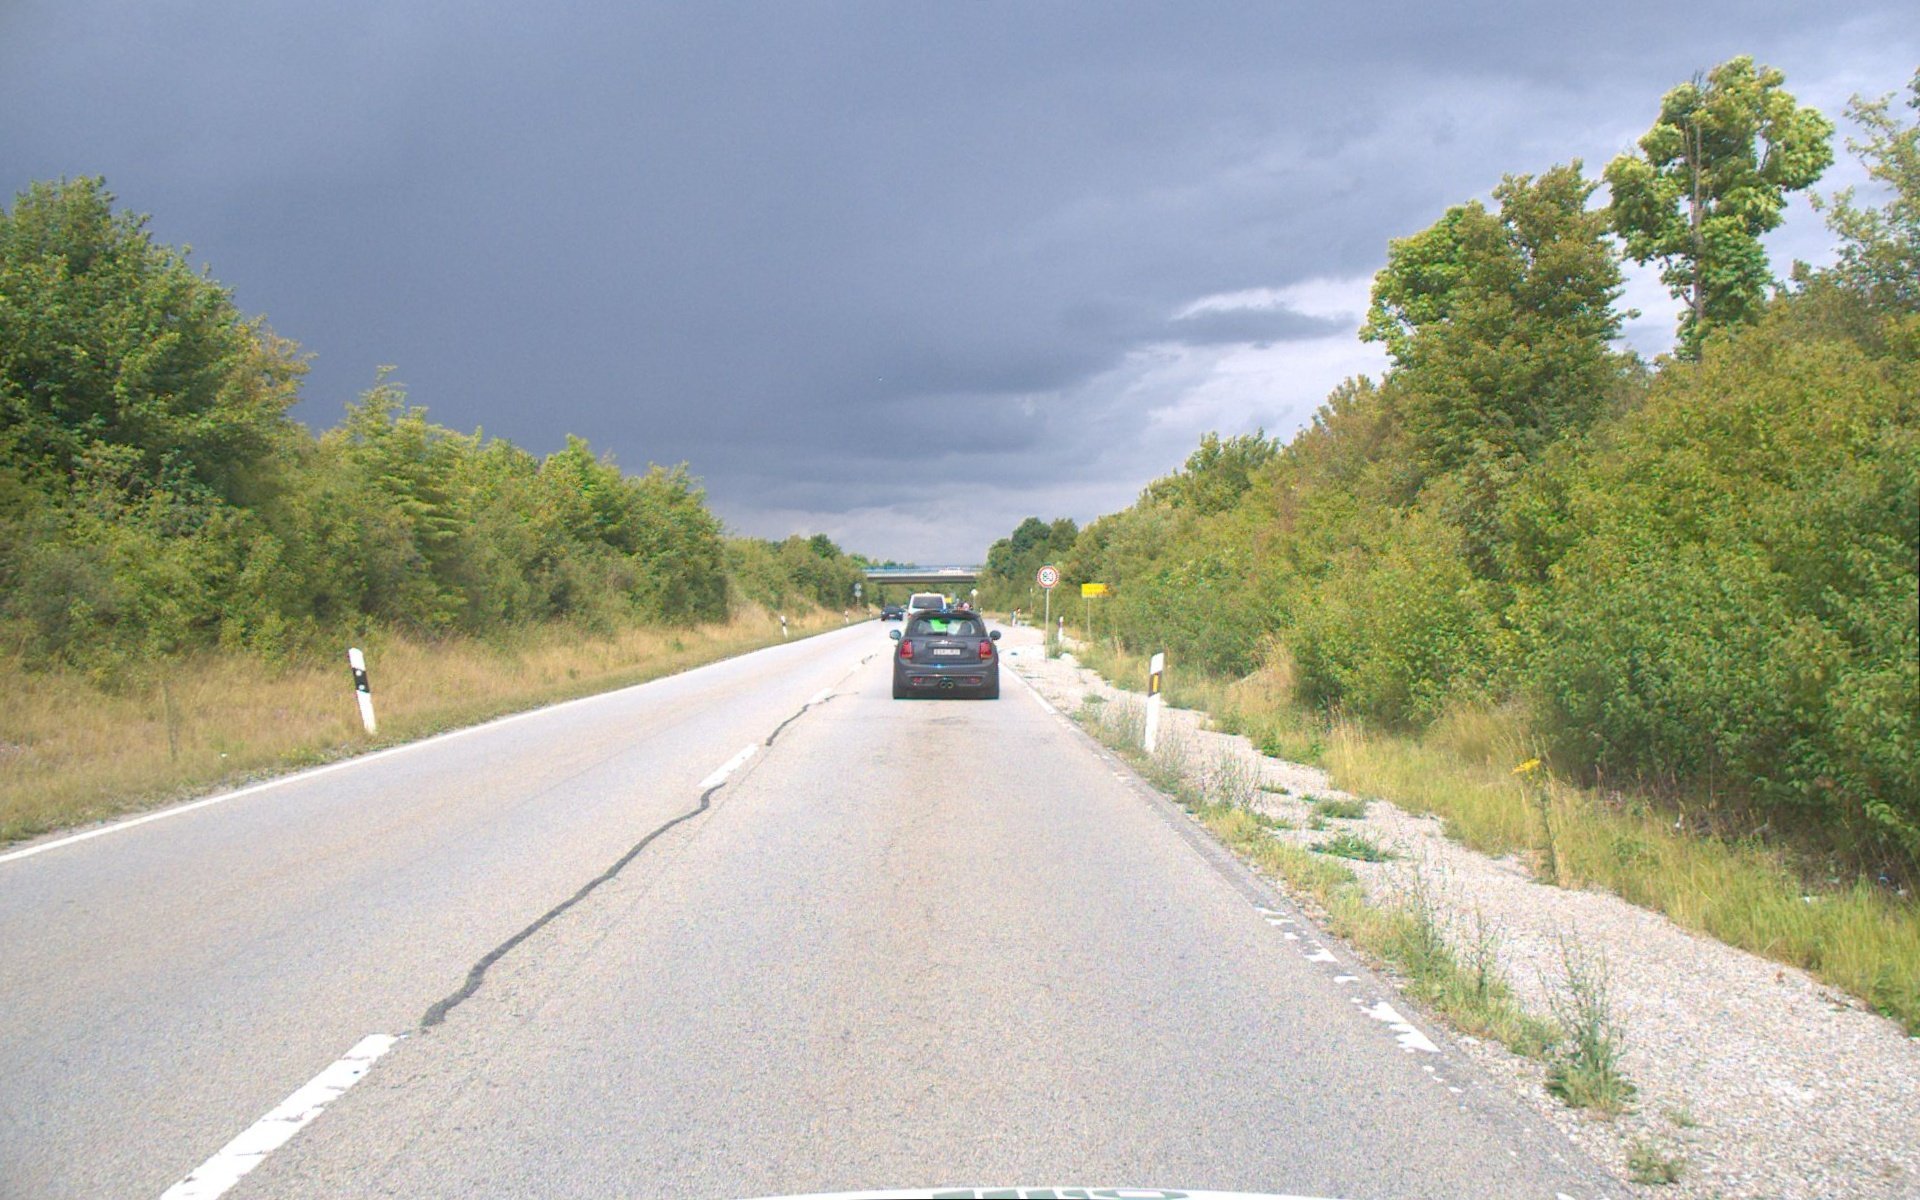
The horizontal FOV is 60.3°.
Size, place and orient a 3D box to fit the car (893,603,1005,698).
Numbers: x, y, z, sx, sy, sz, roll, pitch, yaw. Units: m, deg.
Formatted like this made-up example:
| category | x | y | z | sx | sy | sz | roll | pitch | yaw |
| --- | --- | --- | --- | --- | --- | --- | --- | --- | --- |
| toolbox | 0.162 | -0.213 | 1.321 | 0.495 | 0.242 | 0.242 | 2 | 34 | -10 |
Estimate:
| category | x | y | z | sx | sy | sz | roll | pitch | yaw |
| --- | --- | --- | --- | --- | --- | --- | --- | --- | --- |
| car | -0.208 | 0.800 | 27.745 | 1.721 | 1.452 | 3.999 | 1 | 0 | -1 |

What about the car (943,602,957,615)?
| category | x | y | z | sx | sy | sz | roll | pitch | yaw |
| --- | --- | --- | --- | --- | --- | --- | --- | --- | --- |
| car | -1.414 | 1.221 | 228.081 | 1.745 | 1.736 | 3.998 | 1 | 0 | -3 |

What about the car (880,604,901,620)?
| category | x | y | z | sx | sy | sz | roll | pitch | yaw |
| --- | --- | --- | --- | --- | --- | --- | --- | --- | --- |
| car | -5.982 | 1.038 | 142.248 | 1.666 | 1.353 | 3.999 | -1 | 0 | -1 |

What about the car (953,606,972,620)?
| category | x | y | z | sx | sy | sz | roll | pitch | yaw |
| --- | --- | --- | --- | --- | --- | --- | --- | --- | --- |
| car | 0.270 | 1.507 | 194.225 | 1.954 | 1.579 | 3.997 | 1 | 0 | -3 |

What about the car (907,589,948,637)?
| category | x | y | z | sx | sy | sz | roll | pitch | yaw |
| --- | --- | --- | --- | --- | --- | --- | --- | --- | --- |
| car | -1.479 | 0.597 | 75.476 | 1.782 | 2.090 | 3.999 | 1 | 0 | -1 |
